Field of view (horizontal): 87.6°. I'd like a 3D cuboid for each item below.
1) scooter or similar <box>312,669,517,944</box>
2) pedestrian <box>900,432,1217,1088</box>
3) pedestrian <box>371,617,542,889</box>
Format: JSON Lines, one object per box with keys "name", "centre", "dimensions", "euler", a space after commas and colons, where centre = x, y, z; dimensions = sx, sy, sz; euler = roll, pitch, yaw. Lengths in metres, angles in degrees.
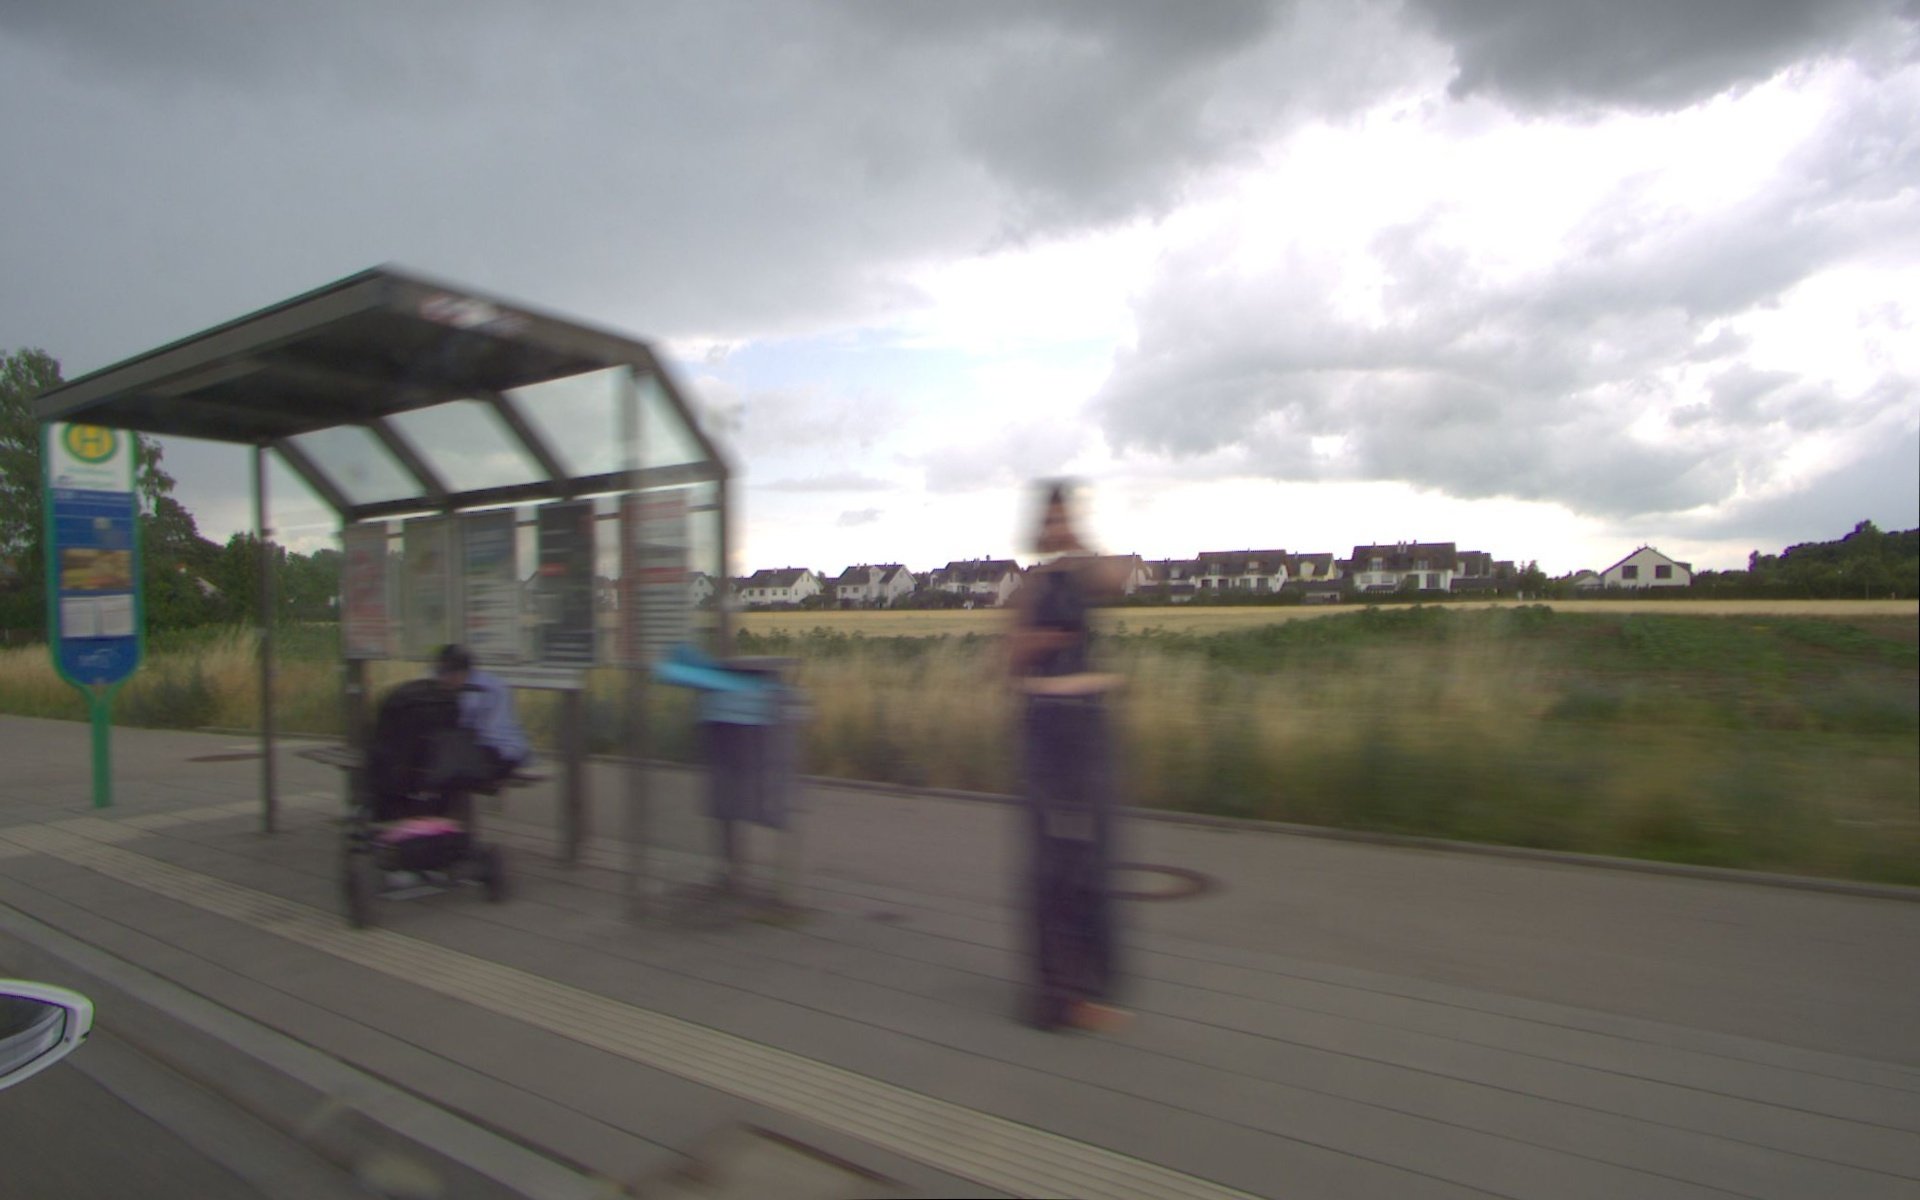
{"name": "scooter or similar", "centre": [-2.494, 0.884, 4.699], "dimensions": [0.697, 1.075, 1.057], "euler": [0, -2, -21]}
{"name": "pedestrian", "centre": [0.341, 0.459, 3.320], "dimensions": [0.768, 1.815, 0.779], "euler": [-1, -2, 35]}
{"name": "pedestrian", "centre": [-2.652, 0.758, 5.290], "dimensions": [0.499, 1.319, 0.662], "euler": [-1, -2, 41]}
